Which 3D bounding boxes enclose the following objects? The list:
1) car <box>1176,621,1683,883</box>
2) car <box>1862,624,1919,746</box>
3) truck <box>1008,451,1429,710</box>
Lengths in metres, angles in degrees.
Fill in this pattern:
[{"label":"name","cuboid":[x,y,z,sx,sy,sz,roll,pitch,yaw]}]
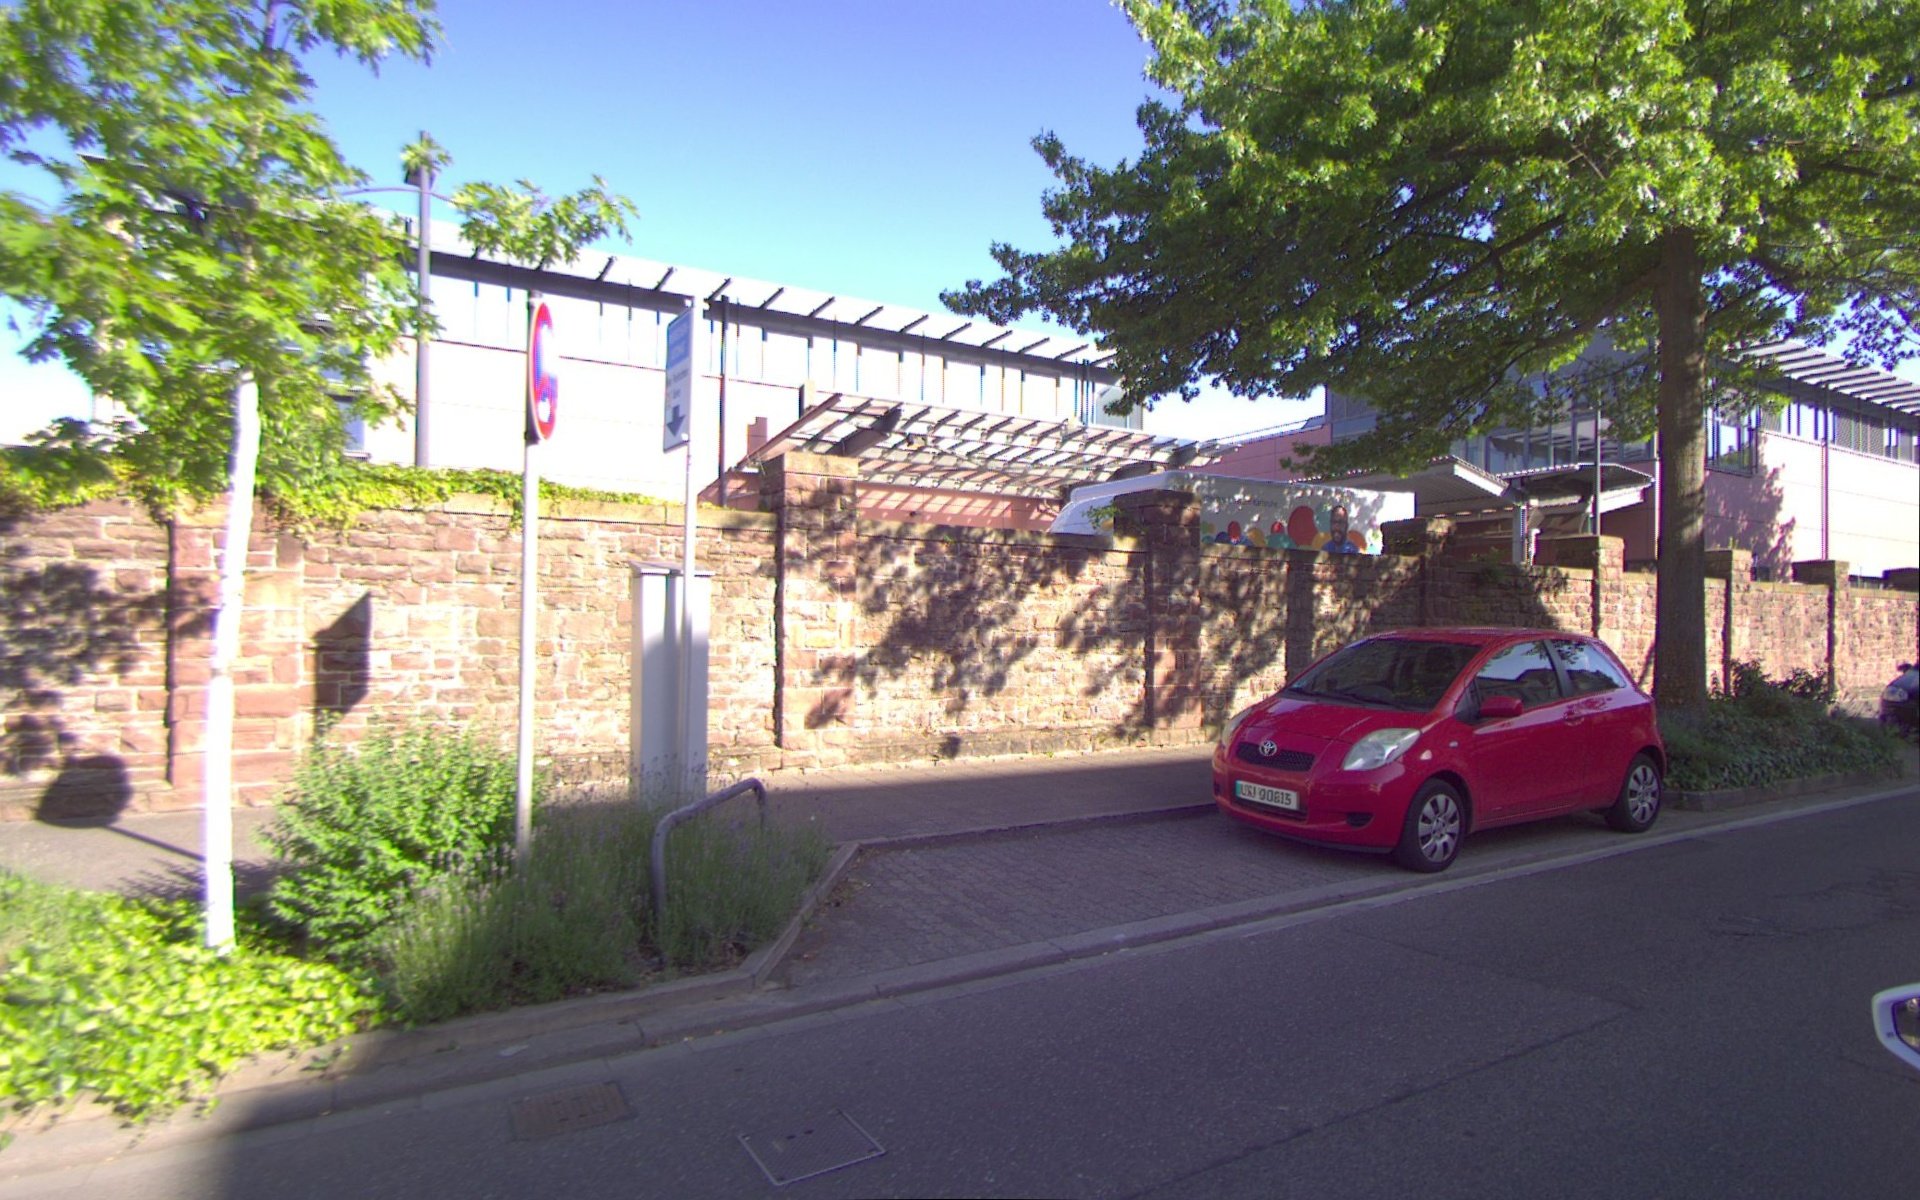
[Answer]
[{"label":"car","cuboid":[3.552,0.940,7.494,3.664,1.478,1.601,1,0,-30]},{"label":"car","cuboid":[14.654,1.165,14.113,4.056,1.613,1.730,1,-1,-29]},{"label":"truck","cuboid":[4.685,-0.228,17.641,7.341,3.761,2.719,1,1,-31]}]
